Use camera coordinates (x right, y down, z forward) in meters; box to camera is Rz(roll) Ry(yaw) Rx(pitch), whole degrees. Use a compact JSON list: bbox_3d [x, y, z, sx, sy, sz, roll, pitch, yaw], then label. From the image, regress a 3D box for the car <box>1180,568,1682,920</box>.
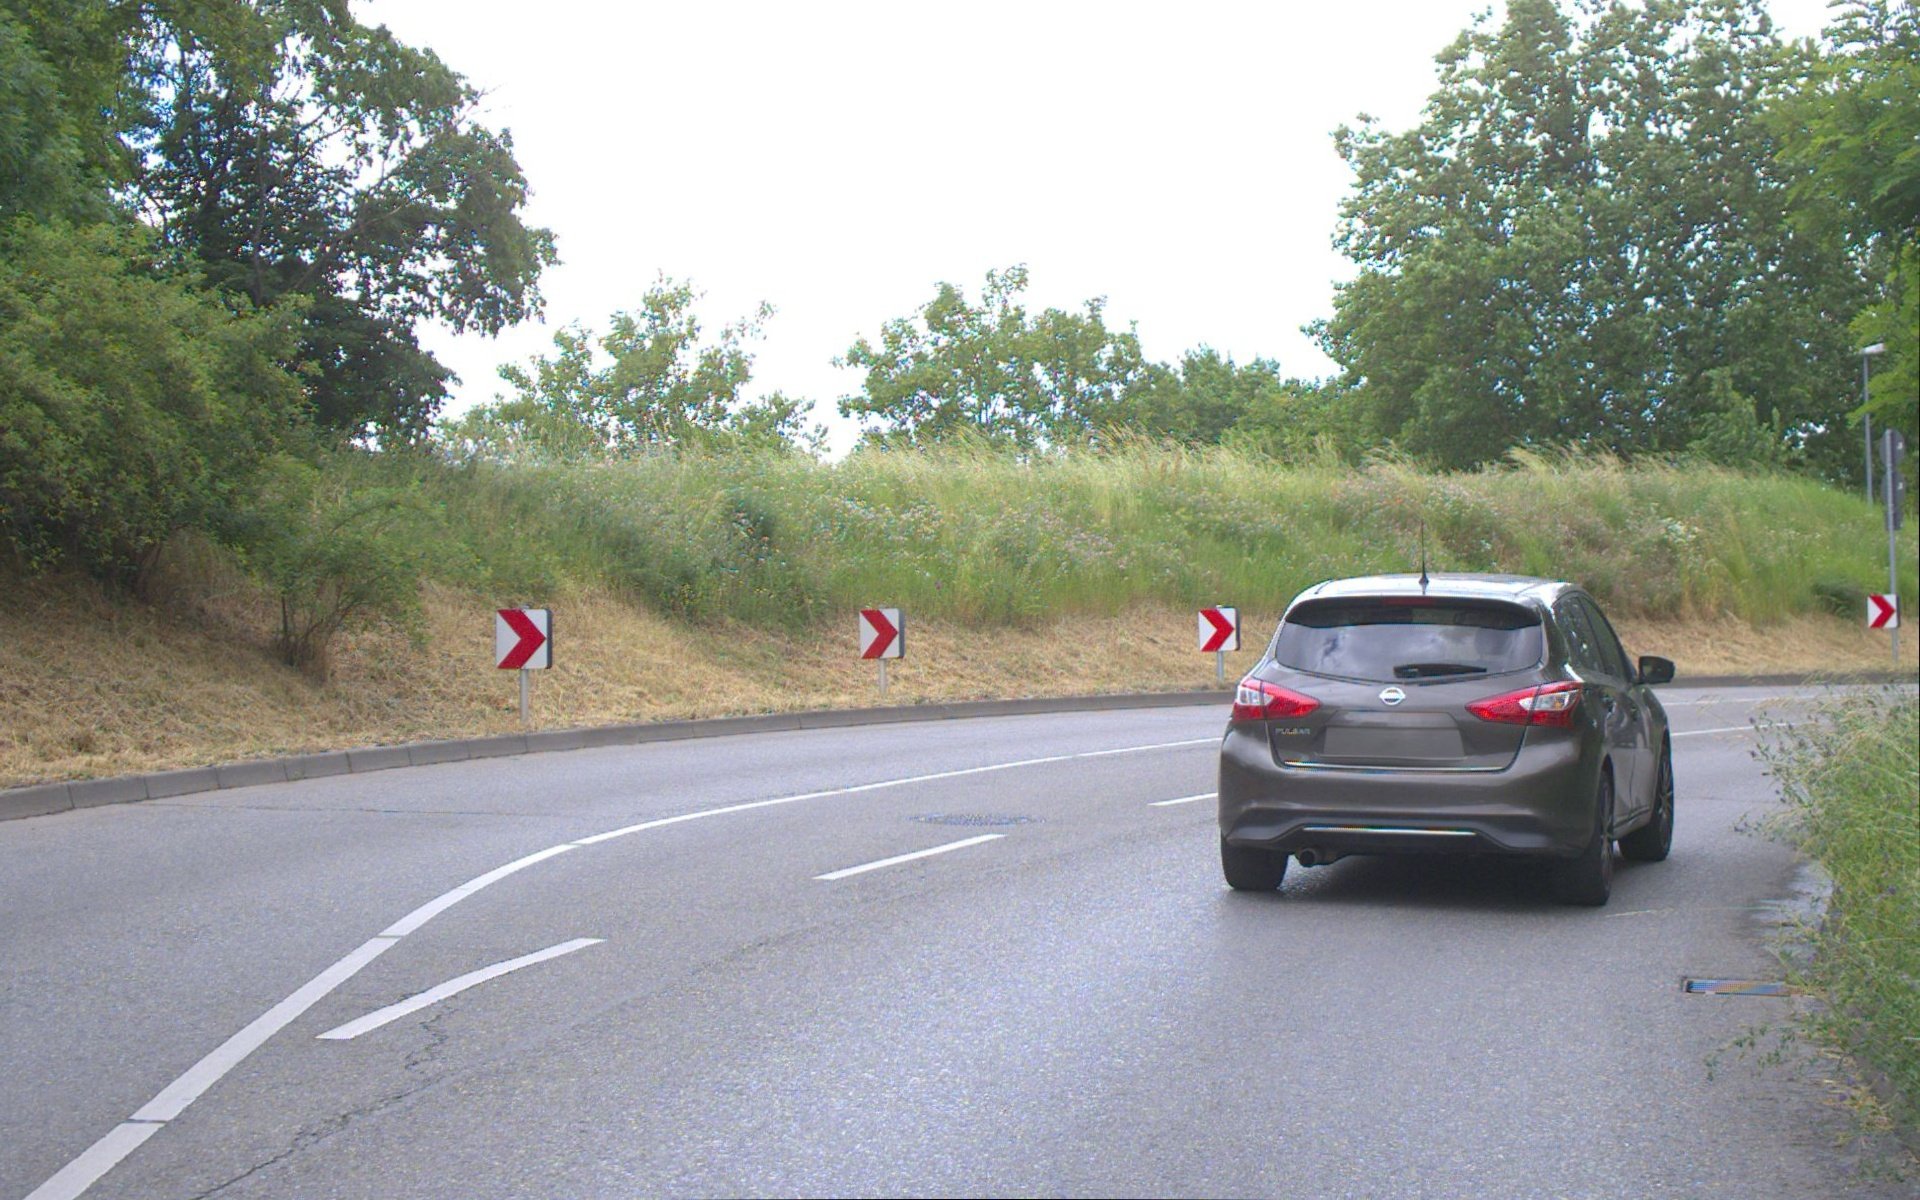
[{"bbox_3d":[2.460,0.604,17.081,1.846,1.488,3.997,1,1,17],"label":"car"}]
